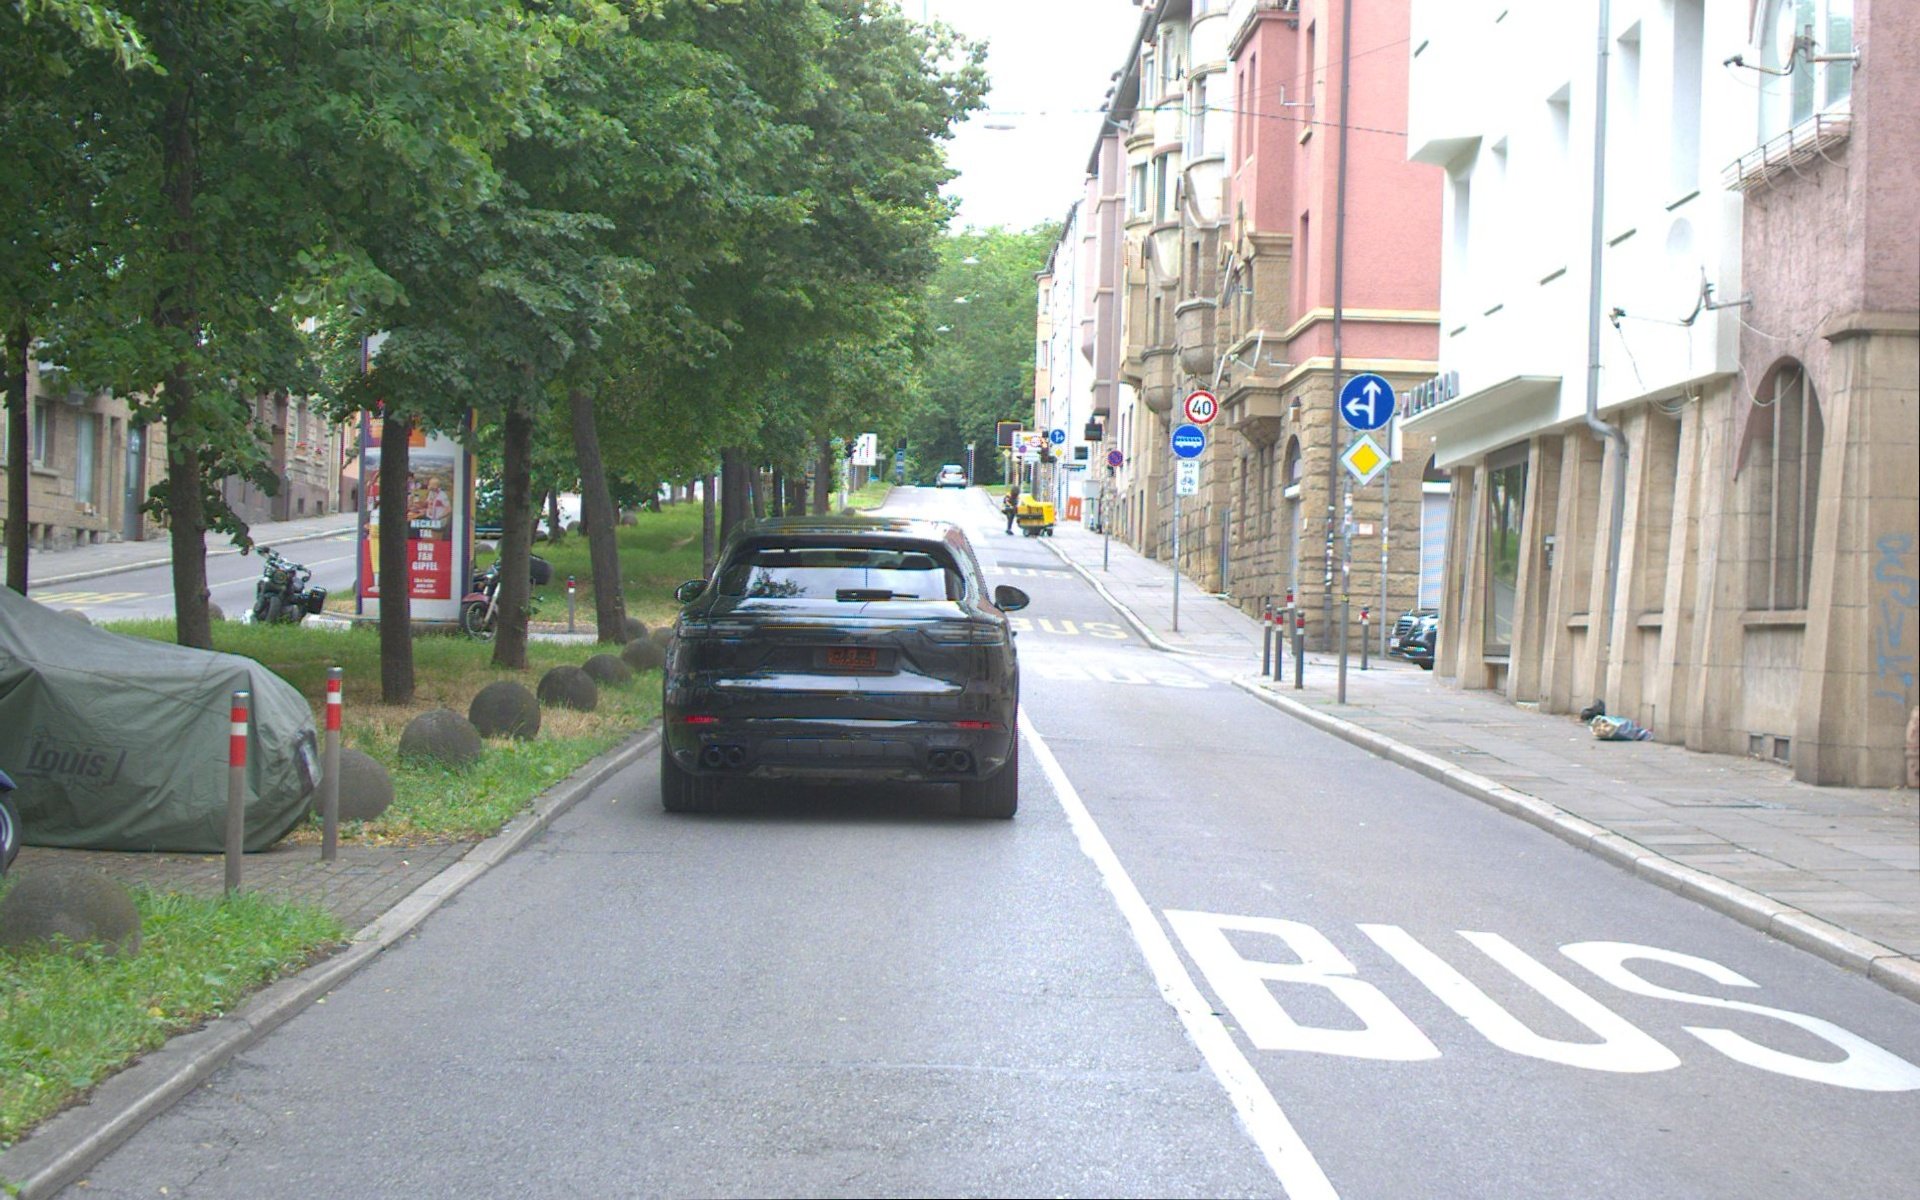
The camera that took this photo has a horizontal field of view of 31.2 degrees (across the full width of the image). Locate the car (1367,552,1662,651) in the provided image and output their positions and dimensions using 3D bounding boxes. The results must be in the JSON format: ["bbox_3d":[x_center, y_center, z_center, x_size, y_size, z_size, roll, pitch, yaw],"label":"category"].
[{"bbox_3d":[8.152,0.015,50.433,3.987,1.371,2.000,0,1,-35],"label":"car"}]

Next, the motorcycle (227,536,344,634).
[{"bbox_3d":[-7.851,-0.158,40.115,0.900,1.103,2.251,1,-1,0],"label":"motorcycle"}]

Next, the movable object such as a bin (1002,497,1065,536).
[{"bbox_3d":[2.529,-2.878,118.356,1.237,1.270,1.846,1,1,-39],"label":"movable object such as a bin"}]

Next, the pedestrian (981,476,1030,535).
[{"bbox_3d":[1.571,-3.293,119.384,1.301,2.007,1.020,1,1,-36],"label":"pedestrian"}]

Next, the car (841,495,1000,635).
[{"bbox_3d":[-0.511,-0.479,46.093,1.993,1.747,4.000,2,1,0],"label":"car"}]

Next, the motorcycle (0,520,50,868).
[{"bbox_3d":[-4.537,0.336,13.022,1.924,1.292,0.893,1,-1,-2],"label":"motorcycle"}]

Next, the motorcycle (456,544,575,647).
[{"bbox_3d":[-5.182,-0.070,40.245,1.062,1.144,2.448,1,1,0],"label":"motorcycle"}]

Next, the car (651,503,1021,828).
[{"bbox_3d":[-0.729,0.311,20.195,1.903,1.660,4.136,2,1,-2],"label":"car"}]

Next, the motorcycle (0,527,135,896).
[{"bbox_3d":[-4.583,0.399,13.976,2.194,1.433,0.874,2,1,2],"label":"motorcycle"}]

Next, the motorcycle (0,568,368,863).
[{"bbox_3d":[-3.997,0.504,15.839,2.355,1.231,1.034,2,2,-2],"label":"motorcycle"}]
